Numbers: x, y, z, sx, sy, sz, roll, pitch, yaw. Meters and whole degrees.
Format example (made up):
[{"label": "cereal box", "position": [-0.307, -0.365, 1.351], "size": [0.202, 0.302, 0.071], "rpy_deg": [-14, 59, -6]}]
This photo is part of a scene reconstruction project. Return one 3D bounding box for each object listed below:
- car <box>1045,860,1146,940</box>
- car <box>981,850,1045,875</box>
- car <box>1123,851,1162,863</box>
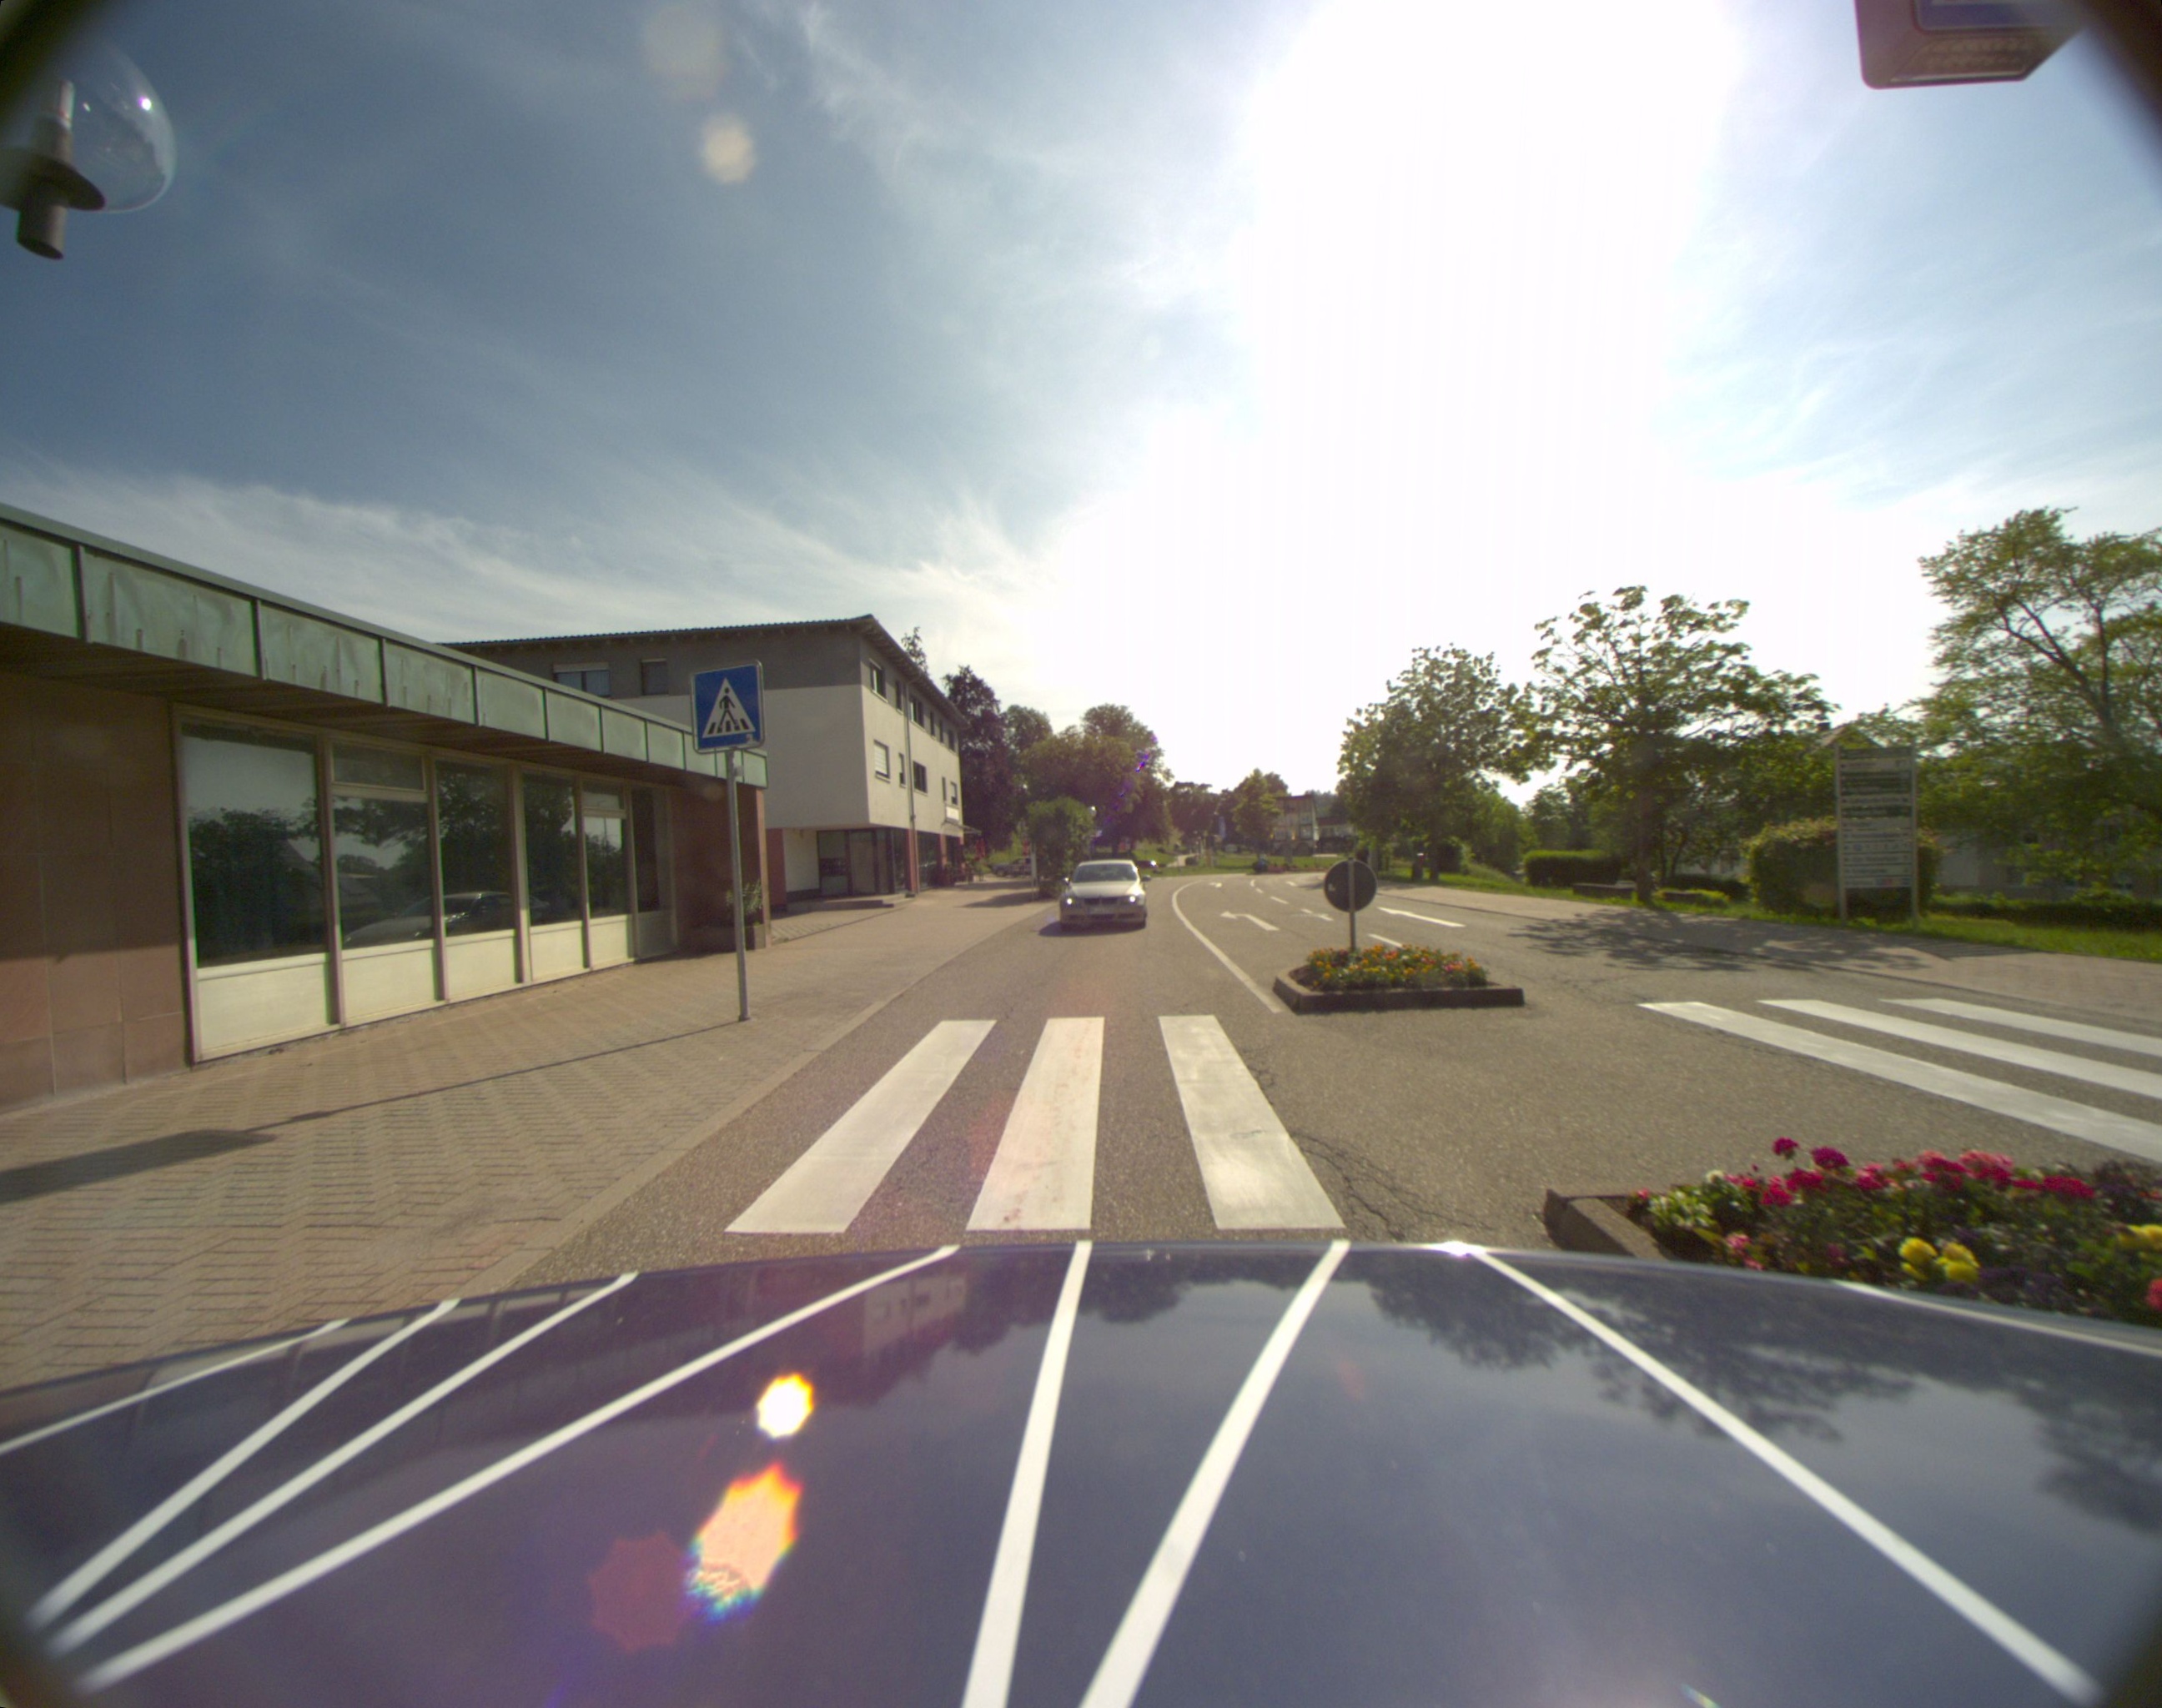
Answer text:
[{"label": "car", "position": [0.435, 0.851, 16.065], "size": [1.838, 1.360, 4.582], "rpy_deg": [0, 1, 4]}, {"label": "car", "position": [-4.596, 0.576, 51.690], "size": [3.995, 1.499, 1.904], "rpy_deg": [2, 2, 5]}, {"label": "car", "position": [7.289, 0.372, 90.388], "size": [4.254, 1.420, 1.706], "rpy_deg": [-1, 0, 35]}]
